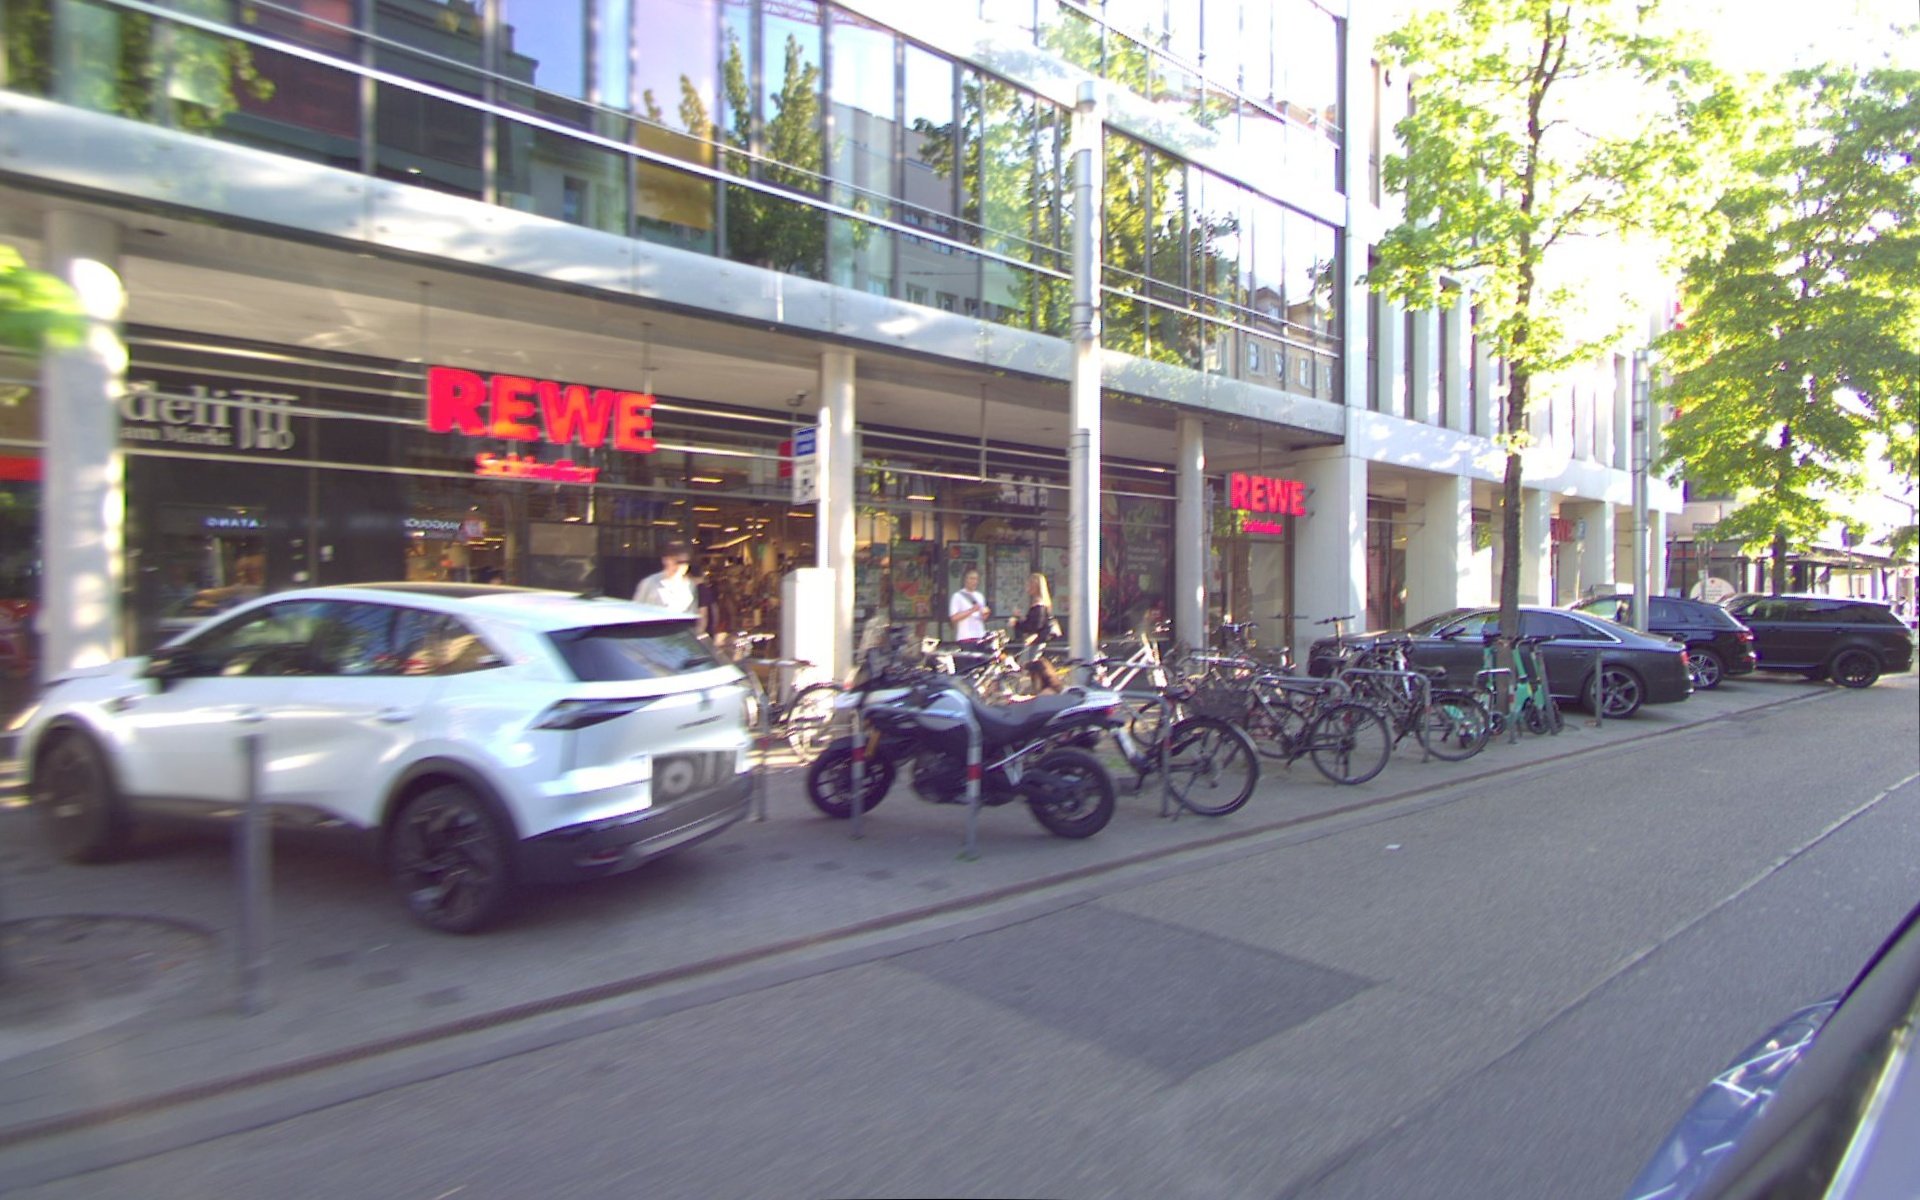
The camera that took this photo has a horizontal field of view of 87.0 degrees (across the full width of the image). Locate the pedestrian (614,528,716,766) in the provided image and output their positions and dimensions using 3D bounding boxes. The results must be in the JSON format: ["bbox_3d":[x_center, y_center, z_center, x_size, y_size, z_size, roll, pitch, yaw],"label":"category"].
[{"bbox_3d":[-2.526,0.370,8.656,0.651,1.942,0.585,0,2,-37],"label":"pedestrian"}]

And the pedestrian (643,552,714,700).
[{"bbox_3d":[-3.474,0.300,12.486,0.624,1.765,0.591,2,1,41],"label":"pedestrian"}]

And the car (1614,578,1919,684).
[{"bbox_3d":[16.270,0.544,20.579,4.614,1.785,1.980,3,2,23],"label":"car"}]

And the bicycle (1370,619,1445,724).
[{"bbox_3d":[5.639,0.860,12.838,0.544,1.121,1.841,2,2,15],"label":"bicycle"}]

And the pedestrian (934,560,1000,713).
[{"bbox_3d":[0.083,0.422,12.153,0.548,1.772,0.525,0,2,-37],"label":"pedestrian"}]

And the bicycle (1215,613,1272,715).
[{"bbox_3d":[3.709,0.795,13.335,0.617,1.144,1.881,2,2,14],"label":"bicycle"}]

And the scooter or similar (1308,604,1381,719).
[{"bbox_3d":[4.956,0.751,13.144,0.622,1.309,1.674,2,2,14],"label":"scooter or similar"}]

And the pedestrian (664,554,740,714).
[{"bbox_3d":[-2.966,0.362,11.616,0.624,1.765,0.590,2,1,43],"label":"pedestrian"}]

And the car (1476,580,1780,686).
[{"bbox_3d":[12.566,0.532,19.485,4.624,1.675,1.989,3,2,28],"label":"car"}]

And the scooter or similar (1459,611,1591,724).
[{"bbox_3d":[6.960,0.824,12.495,1.281,1.291,0.459,2,3,-2],"label":"scooter or similar"}]

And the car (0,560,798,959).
[{"bbox_3d":[-3.213,0.637,5.865,4.106,1.590,1.843,2,2,19],"label":"car"}]

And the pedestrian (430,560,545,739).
[{"bbox_3d":[-4.591,0.444,9.834,0.866,1.644,0.716,0,1,-38],"label":"pedestrian"}]

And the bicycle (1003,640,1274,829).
[{"bbox_3d":[1.319,0.942,7.549,1.875,1.133,0.662,3,3,23],"label":"bicycle"}]

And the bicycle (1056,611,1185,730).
[{"bbox_3d":[1.837,0.762,11.502,1.254,1.187,0.862,3,1,21],"label":"bicycle"}]

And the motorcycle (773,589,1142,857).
[{"bbox_3d":[0.004,0.738,6.695,2.280,1.528,0.857,2,2,8],"label":"motorcycle"}]

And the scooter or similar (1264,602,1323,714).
[{"bbox_3d":[4.375,0.717,13.347,0.555,1.309,1.674,2,2,14],"label":"scooter or similar"}]

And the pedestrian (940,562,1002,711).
[{"bbox_3d":[0.132,0.418,12.067,0.539,1.718,0.518,0,0,-34],"label":"pedestrian"}]

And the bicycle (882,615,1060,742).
[{"bbox_3d":[0.103,0.784,10.647,1.761,1.119,0.626,3,3,26],"label":"bicycle"}]

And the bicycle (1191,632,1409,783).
[{"bbox_3d":[2.916,0.913,8.774,1.663,1.177,0.481,2,2,1],"label":"bicycle"}]

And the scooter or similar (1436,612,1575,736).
[{"bbox_3d":[6.388,0.849,11.915,1.291,1.291,0.561,4,3,20],"label":"scooter or similar"}]

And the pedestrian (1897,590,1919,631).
[{"bbox_3d":[43.817,0.476,46.764,0.623,1.854,0.689,0,0,-39],"label":"pedestrian"}]

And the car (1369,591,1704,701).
[{"bbox_3d":[9.538,0.671,17.088,4.629,1.443,1.913,3,2,31],"label":"car"}]

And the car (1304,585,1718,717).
[{"bbox_3d":[7.831,0.653,15.008,4.990,1.487,1.968,3,2,16],"label":"car"}]

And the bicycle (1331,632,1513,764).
[{"bbox_3d":[4.599,0.945,10.205,1.545,1.102,0.863,3,1,21],"label":"bicycle"}]

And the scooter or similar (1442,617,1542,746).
[{"bbox_3d":[5.851,0.862,11.107,1.283,1.291,0.452,0,4,-40],"label":"scooter or similar"}]

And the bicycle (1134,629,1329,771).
[{"bbox_3d":[2.581,0.910,9.651,1.678,1.119,0.627,3,3,26],"label":"bicycle"}]

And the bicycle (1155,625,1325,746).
[{"bbox_3d":[3.007,0.878,10.856,1.655,1.088,0.727,4,1,22],"label":"bicycle"}]

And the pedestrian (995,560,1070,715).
[{"bbox_3d":[0.839,0.416,11.690,0.677,1.718,0.542,0,0,39],"label":"pedestrian"}]

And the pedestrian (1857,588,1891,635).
[{"bbox_3d":[38.213,0.460,42.308,0.900,1.921,0.836,0,1,-36],"label":"pedestrian"}]
